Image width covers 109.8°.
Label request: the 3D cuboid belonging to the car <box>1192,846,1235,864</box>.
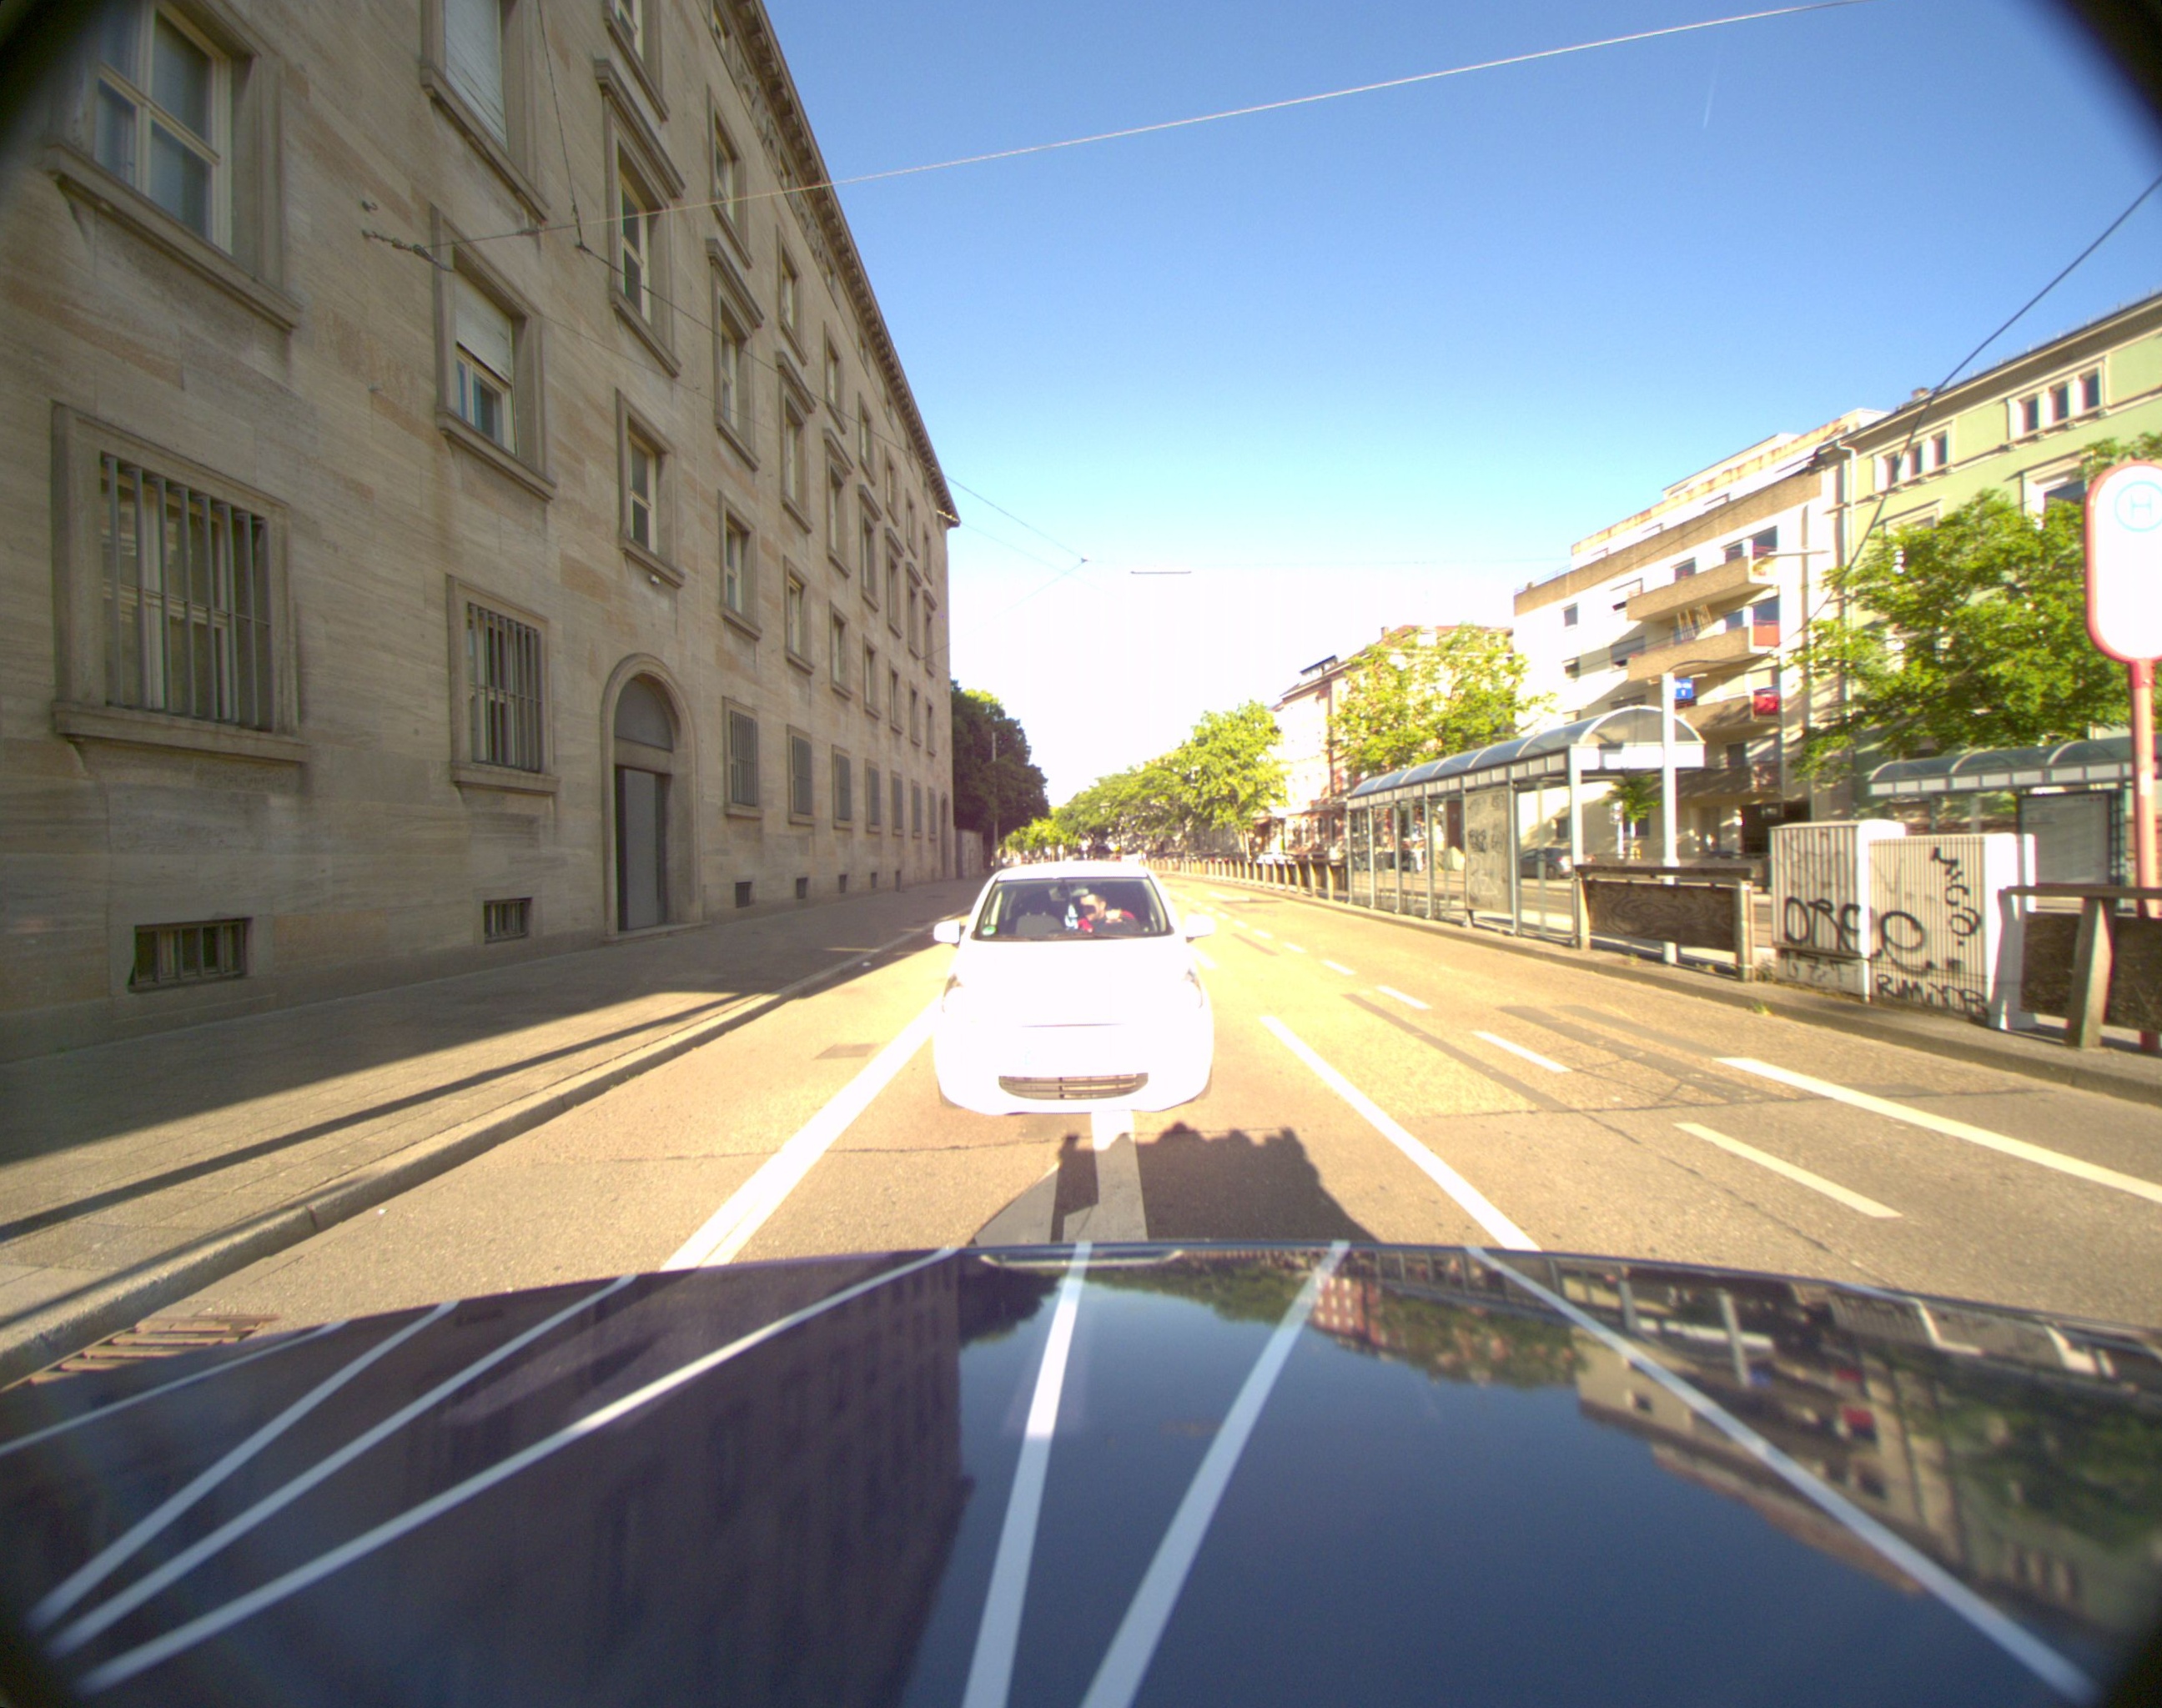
[{"bbox_3d":[13.344,0.113,76.729,3.996,1.674,2.000,-1,0,4],"label":"car"}]

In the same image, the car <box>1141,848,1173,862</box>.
[{"bbox_3d":[9.557,0.130,95.718,3.864,1.583,2.001,-1,0,4],"label":"car"}]

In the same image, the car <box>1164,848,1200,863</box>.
[{"bbox_3d":[11.429,0.144,86.092,3.864,1.583,2.001,-1,0,5],"label":"car"}]

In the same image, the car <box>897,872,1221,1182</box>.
[{"bbox_3d":[-0.087,0.923,5.675,1.612,1.450,3.667,-1,0,1],"label":"car"}]

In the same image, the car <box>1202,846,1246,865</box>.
[{"bbox_3d":[13.629,0.128,72.595,3.996,1.674,2.000,-1,0,4],"label":"car"}]

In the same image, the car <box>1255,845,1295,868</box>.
[{"bbox_3d":[16.297,0.163,63.680,1.994,1.713,4.007,0,2,34],"label":"car"}]

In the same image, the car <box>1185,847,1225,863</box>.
[{"bbox_3d":[13.151,0.085,80.532,3.996,1.674,2.000,-1,0,4],"label":"car"}]

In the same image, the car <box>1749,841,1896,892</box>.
[{"bbox_3d":[23.927,0.369,24.553,3.796,1.526,1.772,-1,0,-17],"label":"car"}]

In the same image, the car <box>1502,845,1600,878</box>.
[{"bbox_3d":[20.838,0.316,33.837,1.615,1.387,3.516,-1,0,-19],"label":"car"}]
